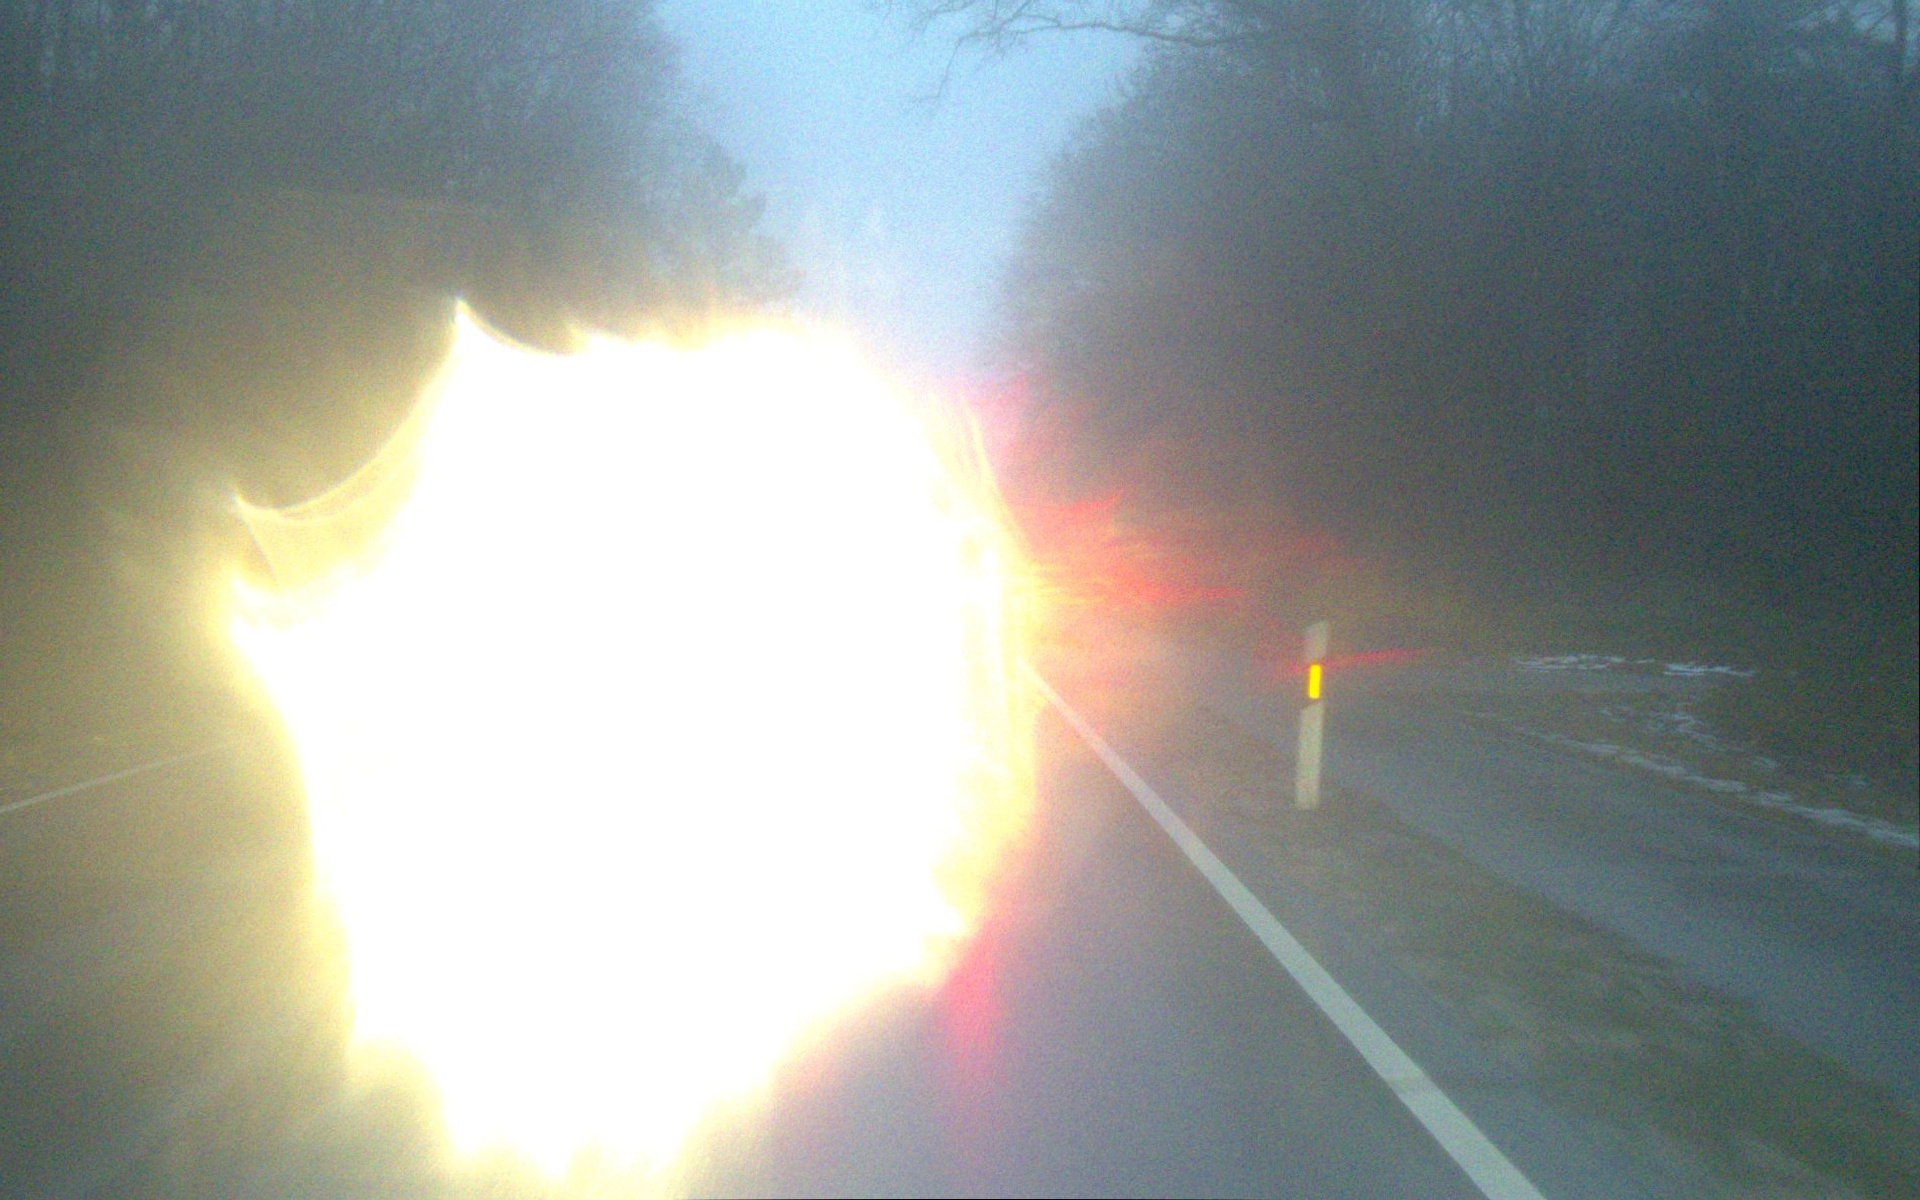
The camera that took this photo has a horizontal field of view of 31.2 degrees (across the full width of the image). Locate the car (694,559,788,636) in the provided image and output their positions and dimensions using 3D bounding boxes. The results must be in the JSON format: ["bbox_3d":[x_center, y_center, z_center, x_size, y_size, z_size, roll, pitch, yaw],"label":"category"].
[{"bbox_3d":[-4.991,-0.088,78.881,1.918,1.602,5.017,-1,2,-2],"label":"car"}]

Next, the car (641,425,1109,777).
[{"bbox_3d":[-0.571,-0.028,26.874,3.183,2.378,6.636,1,1,0],"label":"car"}]

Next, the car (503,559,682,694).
[{"bbox_3d":[-4.242,0.275,40.183,1.691,1.415,4.000,-1,1,-1],"label":"car"}]
